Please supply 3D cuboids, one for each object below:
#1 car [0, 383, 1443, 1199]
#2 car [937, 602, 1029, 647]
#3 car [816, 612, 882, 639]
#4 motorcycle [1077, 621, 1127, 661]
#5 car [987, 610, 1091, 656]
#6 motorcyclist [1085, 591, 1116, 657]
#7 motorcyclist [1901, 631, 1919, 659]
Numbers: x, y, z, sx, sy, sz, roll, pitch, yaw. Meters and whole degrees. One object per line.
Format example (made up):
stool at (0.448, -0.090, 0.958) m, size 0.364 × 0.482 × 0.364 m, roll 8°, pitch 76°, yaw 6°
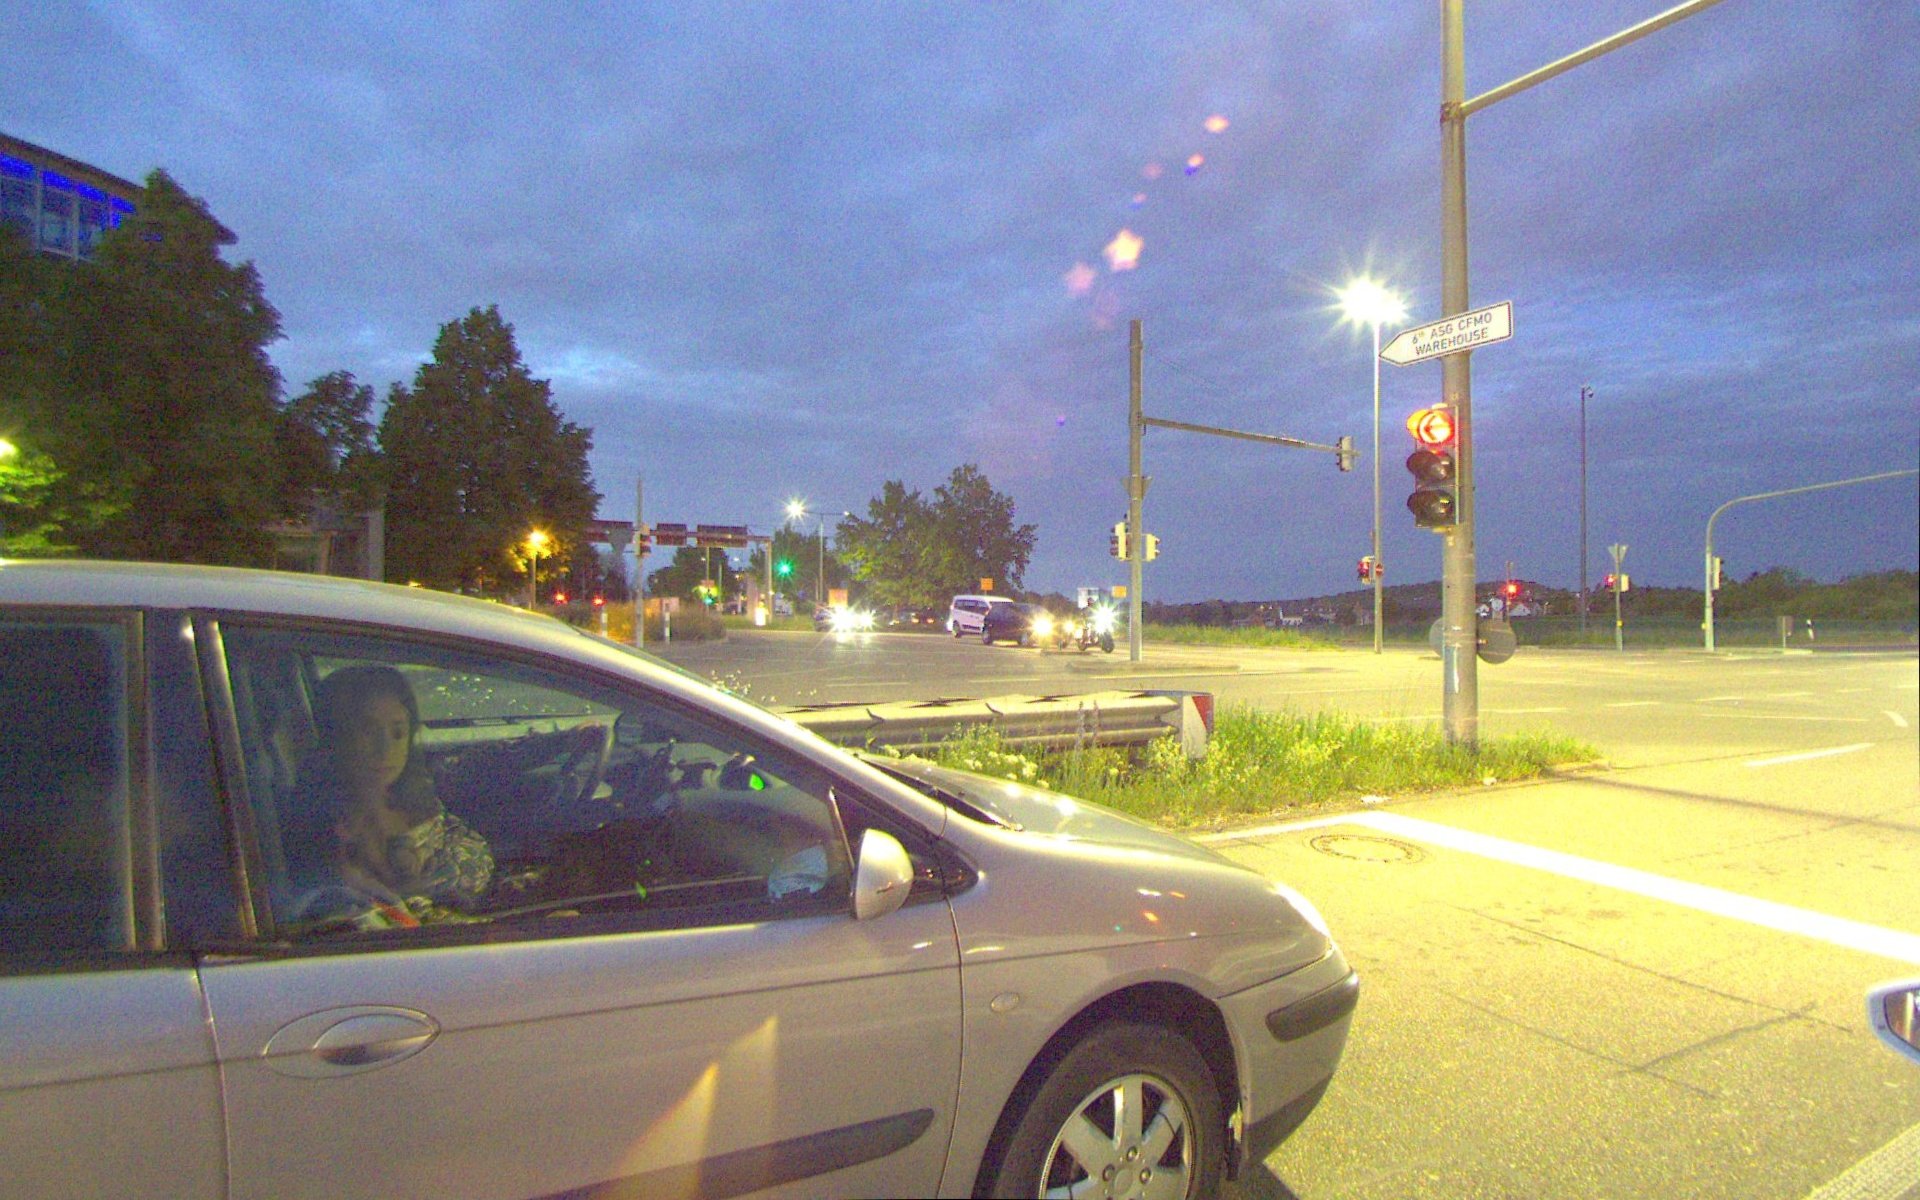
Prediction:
car at (-1.140, 0.593, 2.061) m, size 4.358 × 1.675 × 1.658 m, roll 1°, pitch 0°, yaw -30°
car at (0.935, 1.038, 43.800) m, size 1.827 × 1.838 × 4.737 m, roll 1°, pitch -1°, yaw -29°
car at (-6.233, 1.415, 56.102) m, size 1.856 × 1.416 × 4.798 m, roll 1°, pitch -1°, yaw -31°
motorcycle at (4.383, 1.262, 31.183) m, size 0.664 × 1.179 × 1.797 m, roll 1°, pitch 0°, yaw -25°
car at (2.649, 1.091, 34.512) m, size 1.754 × 1.467 × 3.751 m, roll 1°, pitch -1°, yaw -30°
motorcyclist at (4.385, 0.747, 31.406) m, size 0.628 × 2.040 × 0.763 m, roll 1°, pitch 0°, yaw -25°
motorcyclist at (65.970, 3.118, 69.643) m, size 0.903 × 1.831 × 0.867 m, roll -4°, pitch -8°, yaw 39°
